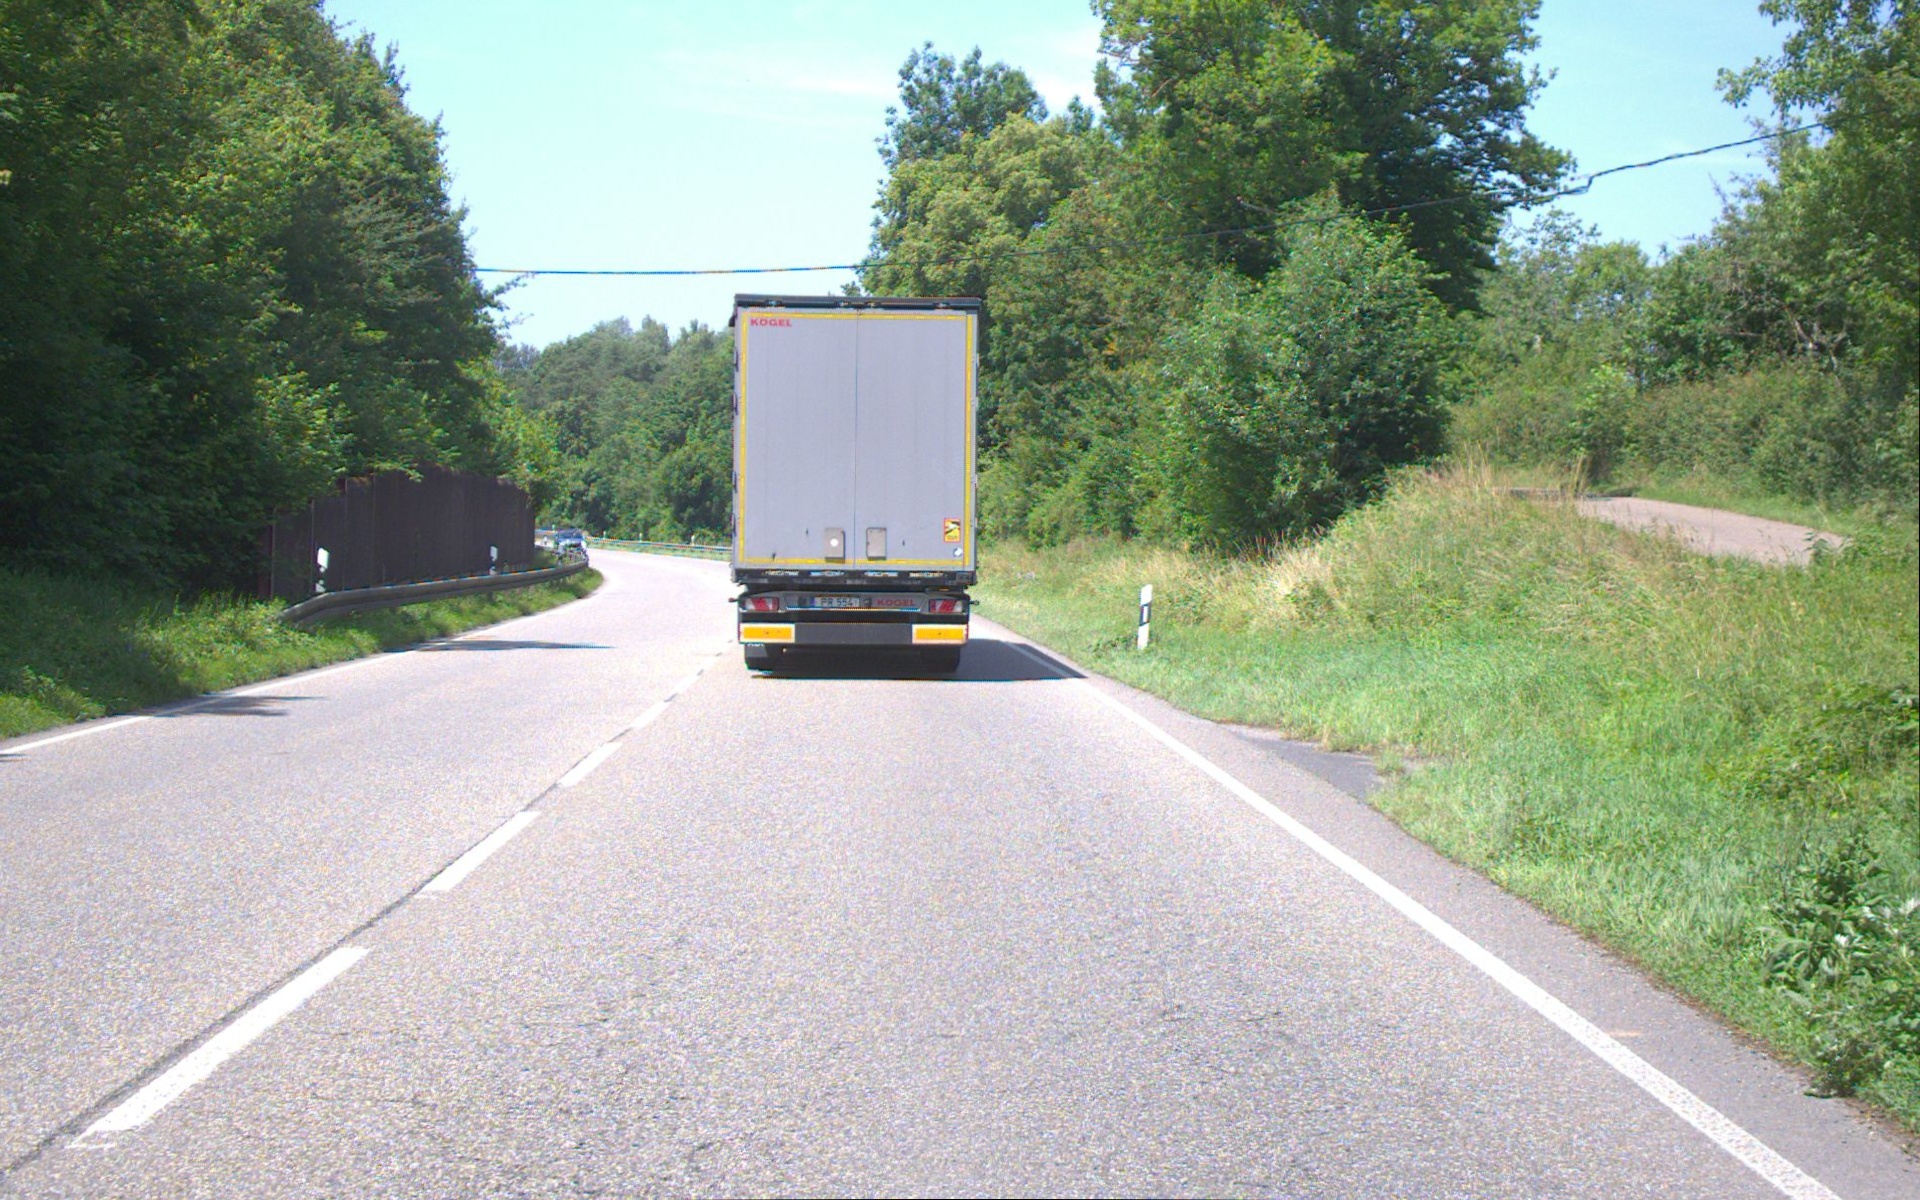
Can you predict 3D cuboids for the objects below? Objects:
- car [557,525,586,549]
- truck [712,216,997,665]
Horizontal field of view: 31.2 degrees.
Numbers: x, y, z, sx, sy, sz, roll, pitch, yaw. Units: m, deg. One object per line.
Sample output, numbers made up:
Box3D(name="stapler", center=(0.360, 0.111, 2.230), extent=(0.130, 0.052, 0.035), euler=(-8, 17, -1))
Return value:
Box3D(name="car", center=(-24.995, -4.054, 221.338), extent=(1.616, 1.486, 3.618), euler=(0, 1, -10))
Box3D(name="truck", center=(-1.054, -1.660, 38.744), extent=(2.822, 4.588, 6.665), euler=(1, 0, 1))
